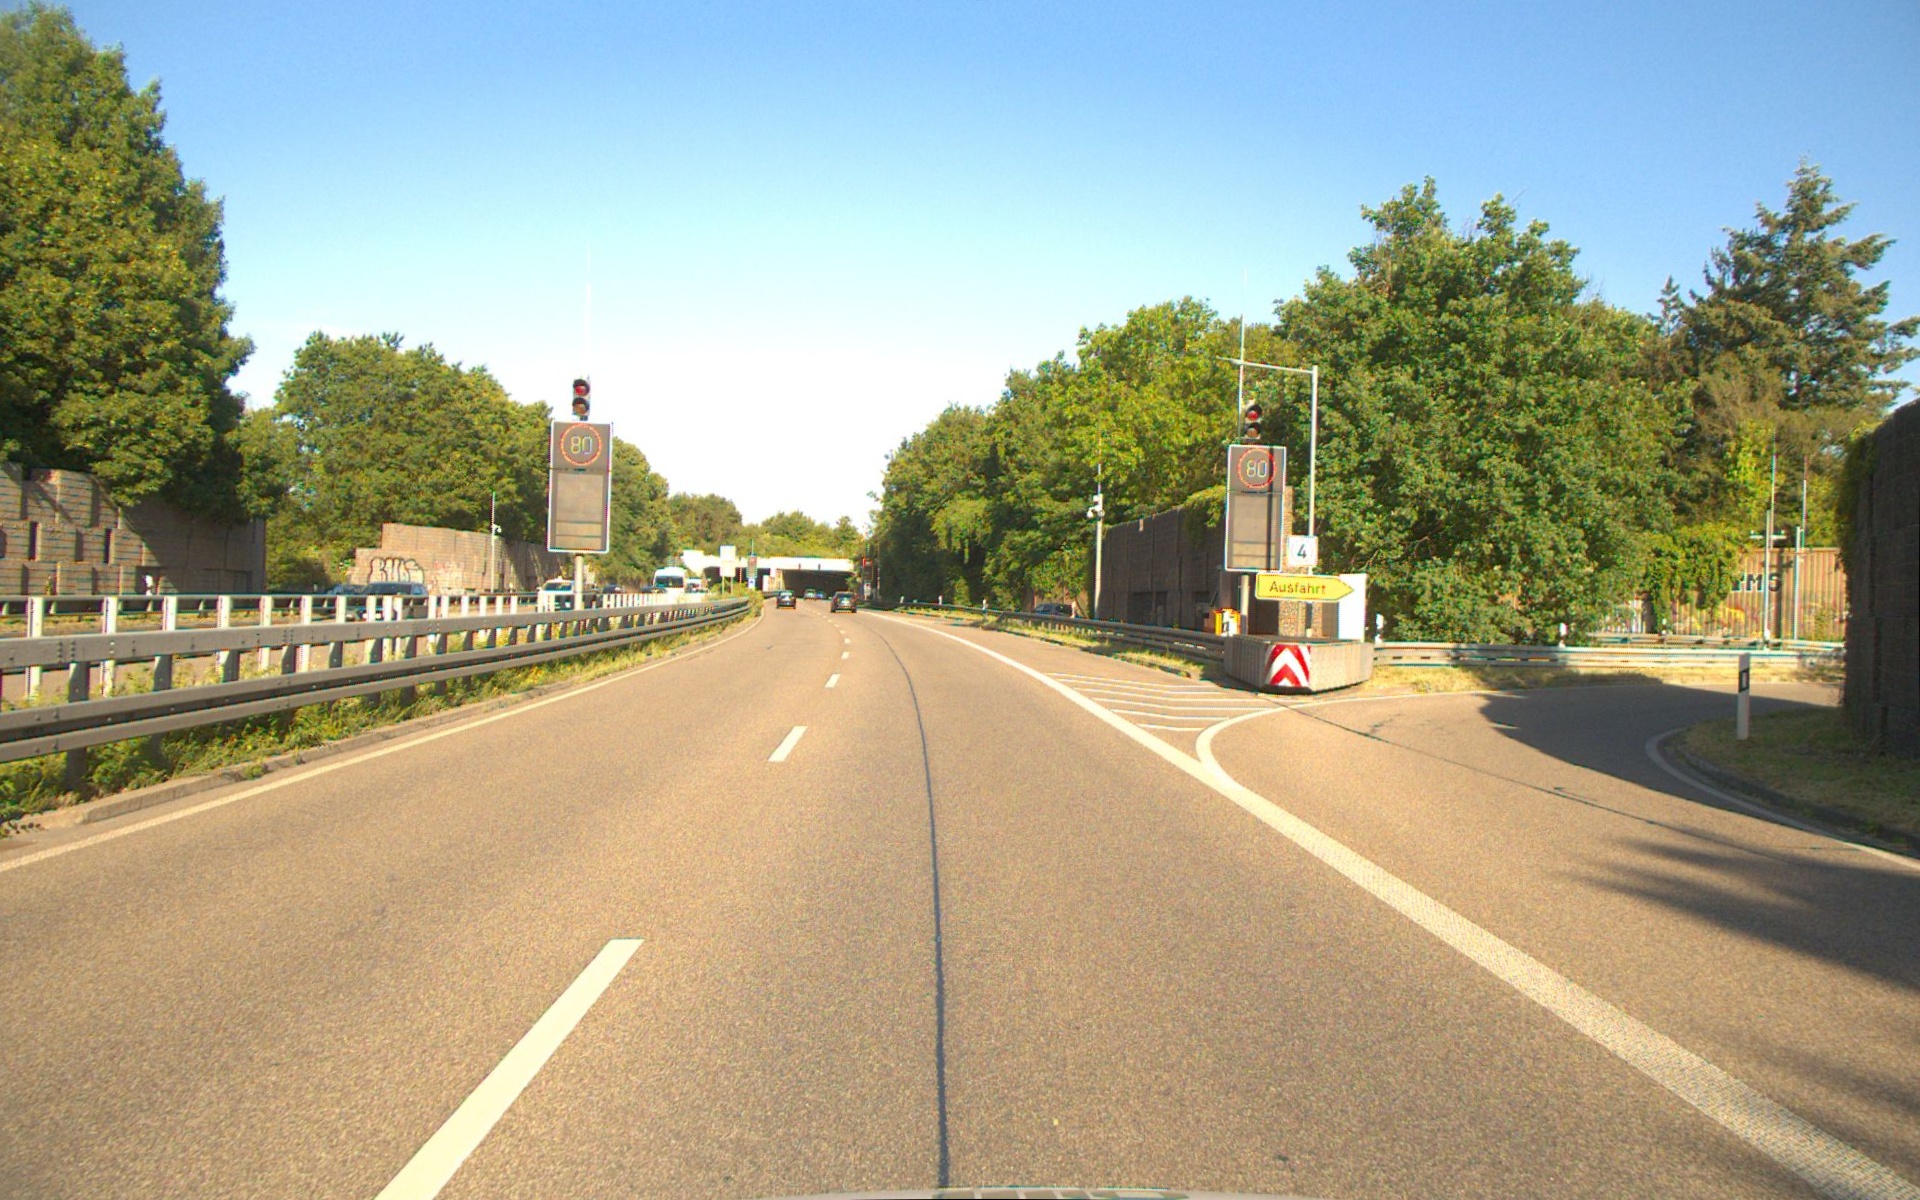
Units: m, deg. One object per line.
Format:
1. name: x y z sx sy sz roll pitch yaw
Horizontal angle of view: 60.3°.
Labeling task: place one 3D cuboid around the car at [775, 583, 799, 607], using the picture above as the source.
1. car: -15.034 -0.486 143.500 1.956 1.959 3.993 2 1 -8

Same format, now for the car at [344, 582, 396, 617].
1. car: -27.878 -0.033 78.114 1.967 1.412 4.000 3 1 -24

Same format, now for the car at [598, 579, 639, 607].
1. car: -21.905 -0.462 106.163 1.864 1.648 4.692 3 1 -4

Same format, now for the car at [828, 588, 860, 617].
1. car: -8.395 0.136 119.440 1.956 1.959 3.993 2 1 -8

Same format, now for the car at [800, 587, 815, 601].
1. car: -22.919 -0.961 248.083 1.956 1.959 3.993 2 1 -8

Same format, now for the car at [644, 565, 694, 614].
1. car: -17.696 -0.665 100.921 2.079 2.729 6.584 3 1 -3

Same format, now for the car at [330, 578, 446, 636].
1. car: -16.709 0.170 48.579 1.954 1.505 4.532 3 1 -3

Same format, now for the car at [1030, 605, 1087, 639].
1. car: 5.389 1.204 91.195 1.642 1.579 3.978 3 1 -19

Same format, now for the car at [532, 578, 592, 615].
1. car: -19.510 -0.196 81.269 1.954 1.623 4.619 3 1 -3
